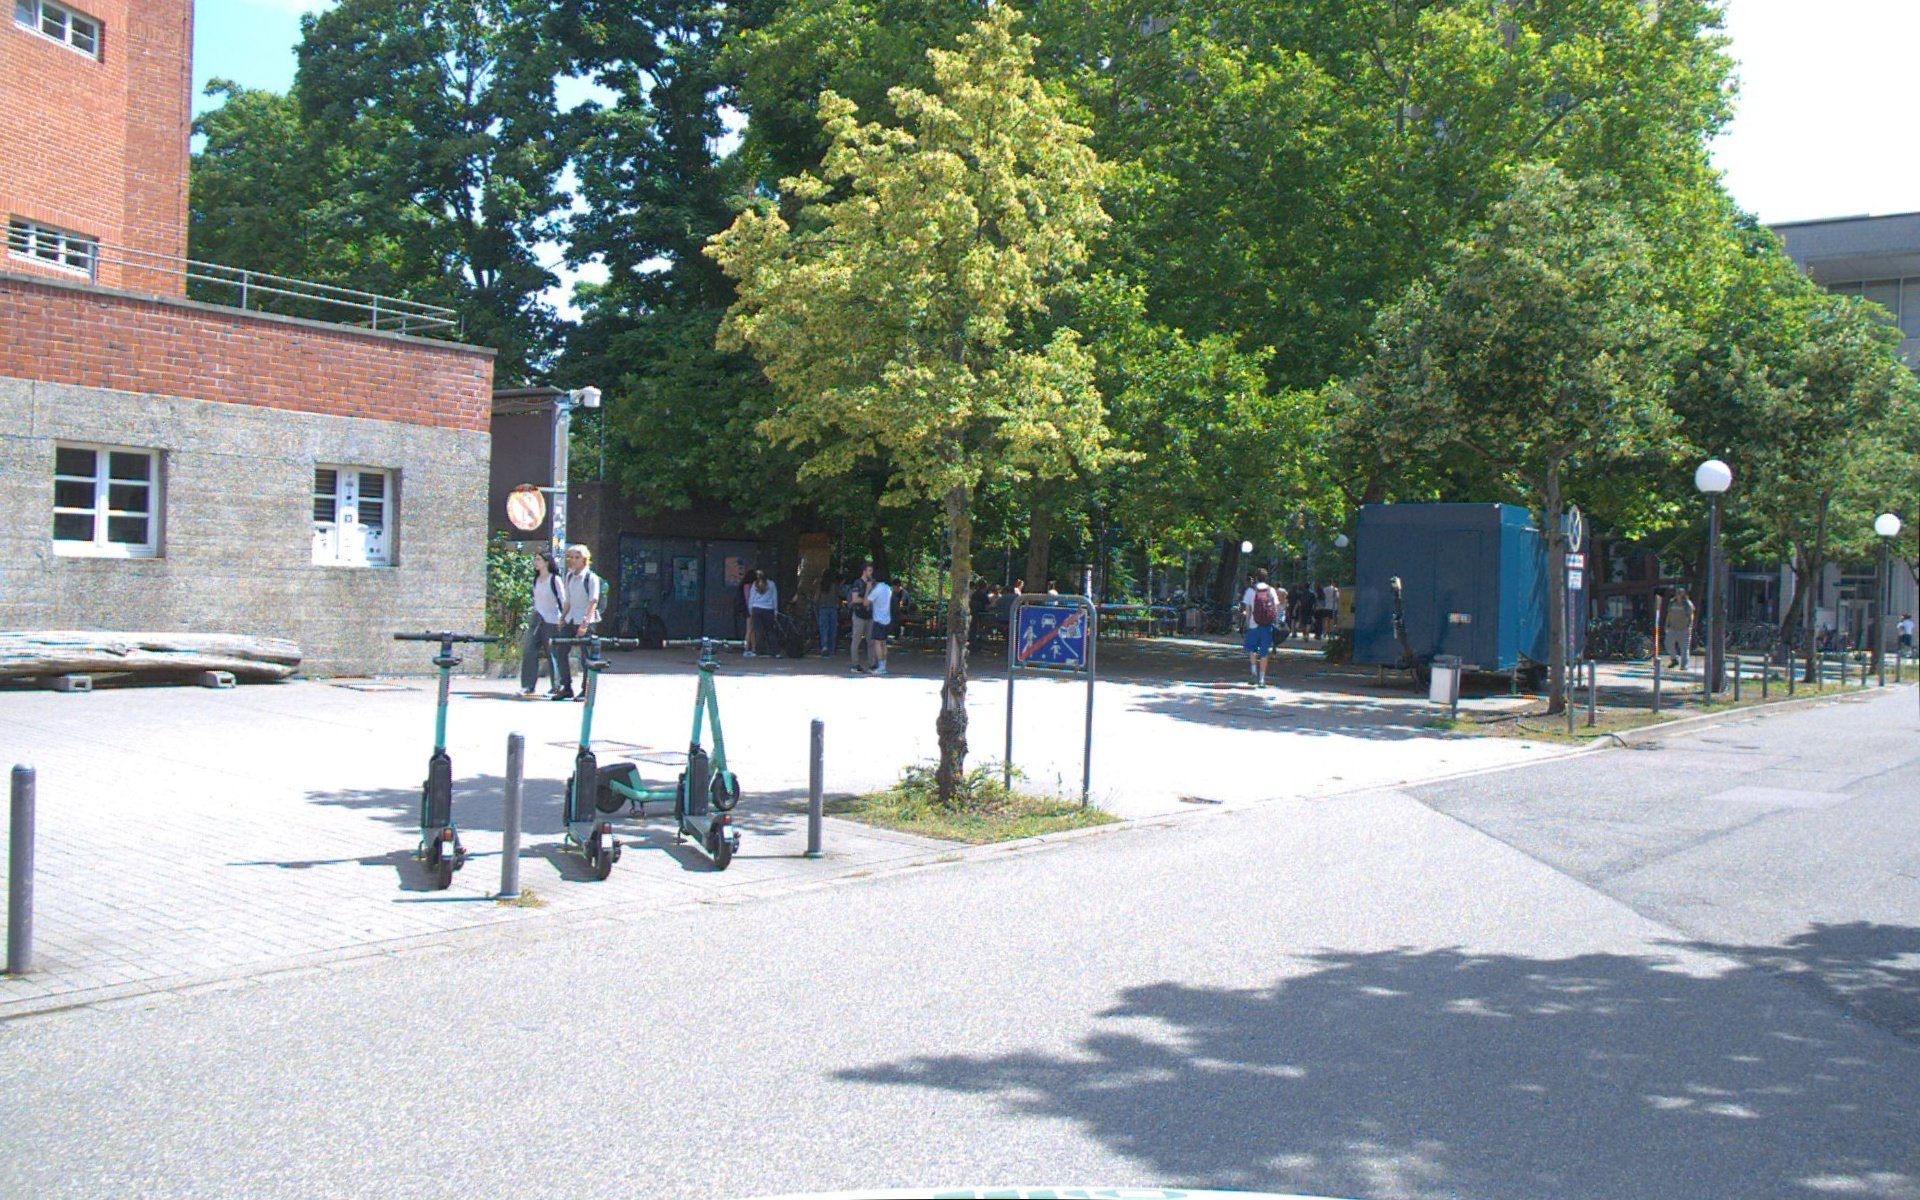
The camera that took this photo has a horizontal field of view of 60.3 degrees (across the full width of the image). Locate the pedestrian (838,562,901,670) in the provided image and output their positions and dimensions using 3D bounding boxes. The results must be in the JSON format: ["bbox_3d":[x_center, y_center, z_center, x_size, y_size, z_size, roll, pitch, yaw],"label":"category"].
[{"bbox_3d":[-1.514,0.277,27.565,0.866,1.750,0.486,3,-2,-24],"label":"pedestrian"}]

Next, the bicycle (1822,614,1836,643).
[{"bbox_3d":[32.393,1.047,61.648,0.374,1.043,1.813,2,1,25],"label":"bicycle"}]

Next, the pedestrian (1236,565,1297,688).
[{"bbox_3d":[4.831,0.398,26.136,0.833,1.867,0.879,2,2,7],"label":"pedestrian"}]

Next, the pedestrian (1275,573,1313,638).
[{"bbox_3d":[10.620,0.166,52.602,0.806,1.981,0.849,3,2,-14],"label":"pedestrian"}]

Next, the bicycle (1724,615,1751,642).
[{"bbox_3d":[32.722,1.197,69.590,0.543,1.105,1.964,4,2,37],"label":"bicycle"}]

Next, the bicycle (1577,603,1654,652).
[{"bbox_3d":[19.222,0.798,48.514,2.012,1.256,0.809,4,1,21],"label":"bicycle"}]

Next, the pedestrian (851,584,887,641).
[{"bbox_3d":[-2.175,0.302,39.597,0.635,1.346,0.556,2,0,40],"label":"pedestrian"}]

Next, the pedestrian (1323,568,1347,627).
[{"bbox_3d":[12.406,-0.088,54.770,0.577,1.937,0.516,1,0,-11],"label":"pedestrian"}]

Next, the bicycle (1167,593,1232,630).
[{"bbox_3d":[7.704,0.358,53.269,1.970,1.138,0.584,1,0,30],"label":"bicycle"}]

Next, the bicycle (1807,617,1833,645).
[{"bbox_3d":[35.096,1.260,67.488,0.543,1.105,1.964,4,2,37],"label":"bicycle"}]

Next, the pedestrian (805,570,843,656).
[{"bbox_3d":[-2.745,0.253,33.440,0.663,1.679,0.503,2,2,-1],"label":"pedestrian"}]

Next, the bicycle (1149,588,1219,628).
[{"bbox_3d":[6.666,0.234,49.317,1.970,1.138,0.584,1,0,30],"label":"bicycle"}]

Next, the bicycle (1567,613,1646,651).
[{"bbox_3d":[19.668,0.968,50.363,2.101,1.026,0.678,2,1,8],"label":"bicycle"}]

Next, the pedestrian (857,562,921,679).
[{"bbox_3d":[-1.161,0.339,26.991,0.866,1.852,0.446,3,-2,-24],"label":"pedestrian"}]

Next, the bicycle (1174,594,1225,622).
[{"bbox_3d":[8.596,0.275,59.385,1.725,0.909,0.419,3,1,18],"label":"bicycle"}]

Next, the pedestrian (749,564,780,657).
[{"bbox_3d":[-3.761,0.203,31.776,0.518,1.740,0.448,2,2,-6],"label":"pedestrian"}]

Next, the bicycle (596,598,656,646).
[{"bbox_3d":[-6.519,0.430,32.335,0.299,0.899,1.225,2,0,39],"label":"bicycle"}]

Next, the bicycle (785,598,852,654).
[{"bbox_3d":[-2.897,0.533,33.804,1.319,1.095,0.416,3,-1,-6],"label":"bicycle"}]

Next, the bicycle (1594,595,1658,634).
[{"bbox_3d":[26.454,0.576,65.733,2.235,1.475,0.607,2,0,5],"label":"bicycle"}]

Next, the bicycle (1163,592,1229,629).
[{"bbox_3d":[7.490,0.330,52.464,1.970,1.138,0.584,1,0,30],"label":"bicycle"}]

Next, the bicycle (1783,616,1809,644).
[{"bbox_3d":[34.483,1.248,68.228,0.543,1.105,1.964,4,2,37],"label":"bicycle"}]

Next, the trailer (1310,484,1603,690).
[{"bbox_3d":[8.600,-0.229,28.150,2.653,3.079,6.239,3,1,37],"label":"trailer"}]

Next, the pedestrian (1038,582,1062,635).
[{"bbox_3d":[2.525,0.238,46.427,0.496,1.447,0.460,3,1,28],"label":"pedestrian"}]

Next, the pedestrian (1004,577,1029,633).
[{"bbox_3d":[1.602,0.136,46.875,0.495,1.549,0.473,3,1,27],"label":"pedestrian"}]

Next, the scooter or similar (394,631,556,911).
[{"bbox_3d":[-2.534,0.818,8.547,0.561,1.246,1.563,2,0,-24],"label":"scooter or similar"}]

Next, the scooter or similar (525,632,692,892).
[{"bbox_3d":[-1.972,0.835,9.138,0.556,1.246,1.563,2,0,-24],"label":"scooter or similar"}]

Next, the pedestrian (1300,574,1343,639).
[{"bbox_3d":[11.516,0.187,52.689,0.902,1.981,0.889,3,2,-15],"label":"pedestrian"}]

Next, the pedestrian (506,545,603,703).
[{"bbox_3d":[-4.776,0.275,19.507,0.566,1.810,0.913,2,0,37],"label":"pedestrian"}]

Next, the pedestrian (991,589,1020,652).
[{"bbox_3d":[1.055,0.462,38.185,0.581,1.393,0.743,2,2,4],"label":"pedestrian"}]

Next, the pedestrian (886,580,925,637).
[{"bbox_3d":[-1.281,0.194,38.850,0.551,1.293,0.690,3,1,38],"label":"pedestrian"}]

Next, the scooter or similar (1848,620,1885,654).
[{"bbox_3d":[33.517,1.369,61.146,1.303,1.196,0.338,2,1,-17],"label":"scooter or similar"}]

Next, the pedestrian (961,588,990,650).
[{"bbox_3d":[0.365,0.438,38.534,0.581,1.393,0.704,2,2,4],"label":"pedestrian"}]

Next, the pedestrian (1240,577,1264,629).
[{"bbox_3d":[9.664,0.102,54.739,0.617,1.699,0.730,2,1,20],"label":"pedestrian"}]

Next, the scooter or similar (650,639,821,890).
[{"bbox_3d":[-1.316,0.884,9.461,0.516,1.246,1.563,2,0,-24],"label":"scooter or similar"}]

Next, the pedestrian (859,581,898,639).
[{"bbox_3d":[-1.879,0.222,38.087,0.551,1.293,0.690,3,1,38],"label":"pedestrian"}]

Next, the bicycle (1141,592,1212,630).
[{"bbox_3d":[6.326,0.315,48.390,1.970,1.025,0.584,1,0,30],"label":"bicycle"}]

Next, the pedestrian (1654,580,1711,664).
[{"bbox_3d":[17.826,0.533,40.802,0.884,1.988,0.907,2,2,-42],"label":"pedestrian"}]

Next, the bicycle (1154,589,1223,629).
[{"bbox_3d":[6.918,0.260,50.126,1.970,1.138,0.584,1,0,30],"label":"bicycle"}]

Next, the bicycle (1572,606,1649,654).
[{"bbox_3d":[18.889,0.868,48.049,2.012,1.256,0.809,3,1,21],"label":"bicycle"}]

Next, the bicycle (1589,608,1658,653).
[{"bbox_3d":[18.654,0.852,46.527,1.737,1.151,0.459,2,1,21],"label":"bicycle"}]

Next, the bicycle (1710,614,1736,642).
[{"bbox_3d":[32.249,1.183,69.886,0.543,1.105,1.964,4,2,37],"label":"bicycle"}]

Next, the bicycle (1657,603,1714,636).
[{"bbox_3d":[28.700,0.758,65.470,1.971,1.275,0.588,1,0,6],"label":"bicycle"}]

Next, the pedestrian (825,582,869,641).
[{"bbox_3d":[-2.647,0.262,38.699,0.677,1.346,0.774,2,0,39],"label":"pedestrian"}]

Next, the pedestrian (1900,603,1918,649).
[{"bbox_3d":[41.353,1.125,72.057,0.404,1.975,0.664,2,1,9],"label":"pedestrian"}]

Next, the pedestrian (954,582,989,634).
[{"bbox_3d":[0.281,0.205,41.571,0.557,1.272,0.766,3,1,26],"label":"pedestrian"}]

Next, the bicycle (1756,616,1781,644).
[{"bbox_3d":[33.808,1.236,69.149,0.543,1.105,1.964,4,2,37],"label":"bicycle"}]

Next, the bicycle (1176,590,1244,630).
[{"bbox_3d":[7.649,0.298,50.589,1.970,1.138,0.584,1,0,30],"label":"bicycle"}]

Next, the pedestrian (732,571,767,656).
[{"bbox_3d":[-4.101,0.259,32.208,0.592,1.620,0.412,2,2,-4],"label":"pedestrian"}]

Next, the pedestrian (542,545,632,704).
[{"bbox_3d":[-4.328,0.278,19.206,0.554,1.792,0.802,2,0,37],"label":"pedestrian"}]

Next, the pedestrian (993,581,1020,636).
[{"bbox_3d":[1.100,0.199,39.015,0.581,1.254,0.743,2,3,4],"label":"pedestrian"}]

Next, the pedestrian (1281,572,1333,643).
[{"bbox_3d":[10.150,0.206,48.339,1.102,1.981,0.889,3,2,-15],"label":"pedestrian"}]

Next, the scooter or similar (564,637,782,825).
[{"bbox_3d":[-1.924,0.852,11.182,1.337,1.169,0.557,1,0,-41],"label":"scooter or similar"}]

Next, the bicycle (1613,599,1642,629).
[{"bbox_3d":[29.020,0.612,71.883,0.517,1.275,2.370,1,0,38],"label":"bicycle"}]
